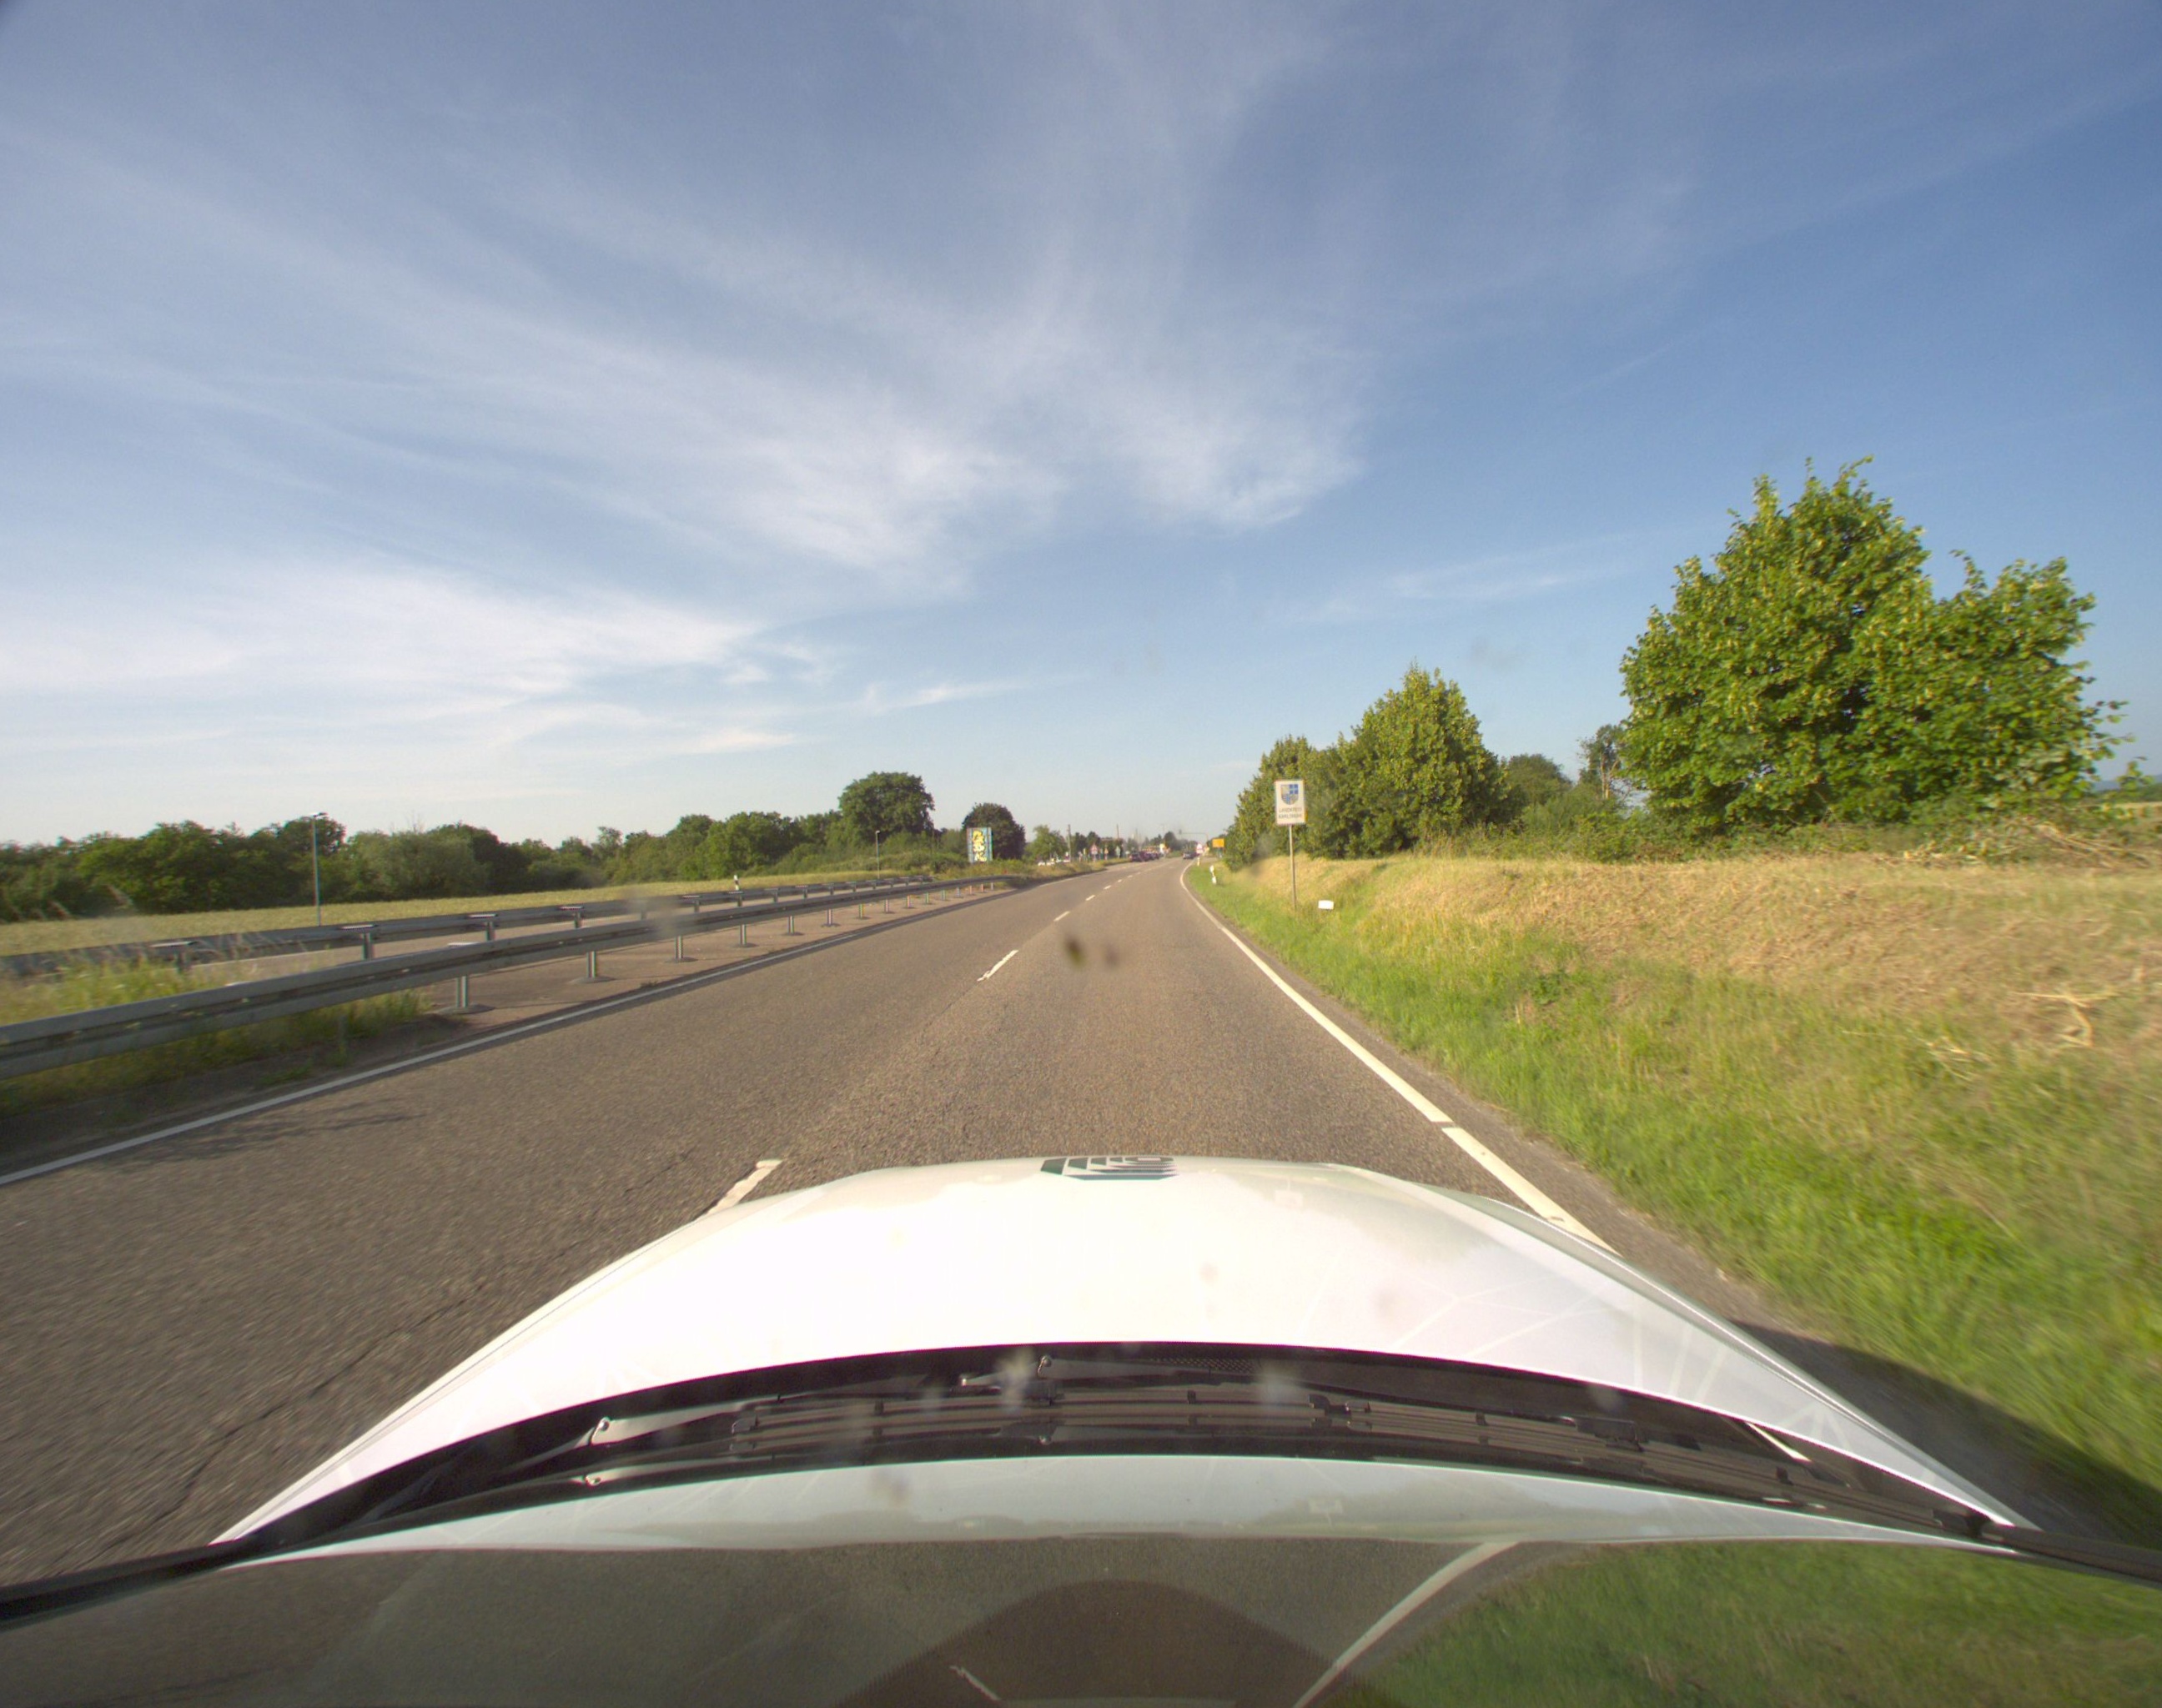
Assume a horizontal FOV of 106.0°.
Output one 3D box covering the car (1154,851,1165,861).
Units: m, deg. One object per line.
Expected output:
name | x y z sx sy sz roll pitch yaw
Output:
car | 16.835 0.420 174.254 1.981 2.014 4.849 -3 -2 10

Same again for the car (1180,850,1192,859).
car | 19.946 0.079 154.127 1.981 1.552 4.011 -2 0 9

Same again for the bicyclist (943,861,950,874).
bicyclist | -14.816 1.477 89.768 0.464 1.389 1.050 -2 0 9

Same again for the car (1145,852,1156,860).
car | 13.452 0.413 156.667 1.759 1.471 4.026 -2 0 9

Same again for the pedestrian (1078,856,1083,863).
pedestrian | -0.090 1.218 179.248 0.911 1.706 1.068 -1 -1 3

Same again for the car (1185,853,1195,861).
car | 23.812 0.586 178.060 1.981 1.552 4.011 -2 0 9

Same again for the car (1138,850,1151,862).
car | 10.839 0.332 139.439 1.722 1.855 4.532 -2 0 9

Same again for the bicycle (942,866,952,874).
bicycle | -14.786 1.740 89.752 0.526 0.878 1.709 -2 0 9

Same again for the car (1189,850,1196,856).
car | 31.146 -0.292 227.283 1.982 1.596 4.011 -3 0 9

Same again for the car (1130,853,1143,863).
car | 9.069 0.586 132.472 1.722 1.456 4.532 -2 0 9
